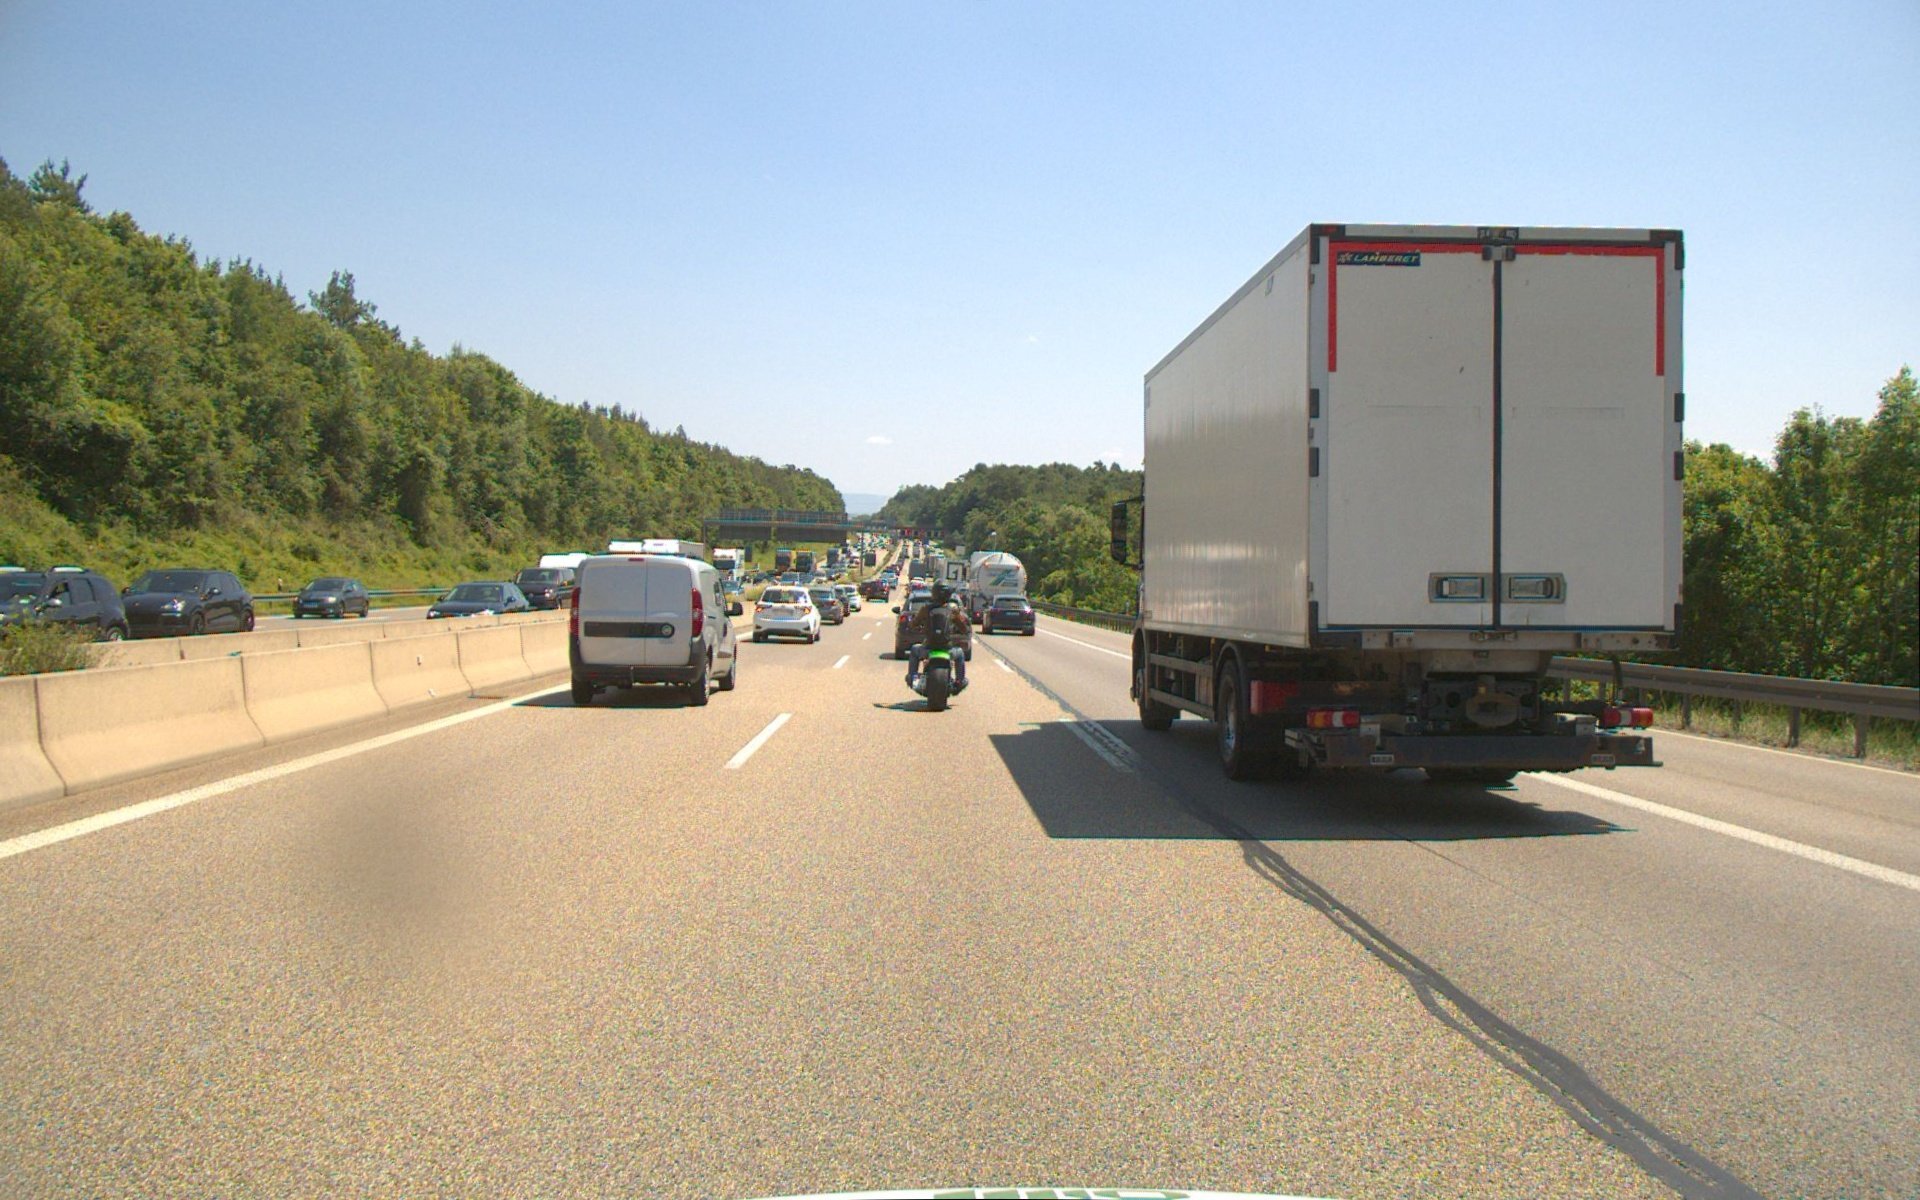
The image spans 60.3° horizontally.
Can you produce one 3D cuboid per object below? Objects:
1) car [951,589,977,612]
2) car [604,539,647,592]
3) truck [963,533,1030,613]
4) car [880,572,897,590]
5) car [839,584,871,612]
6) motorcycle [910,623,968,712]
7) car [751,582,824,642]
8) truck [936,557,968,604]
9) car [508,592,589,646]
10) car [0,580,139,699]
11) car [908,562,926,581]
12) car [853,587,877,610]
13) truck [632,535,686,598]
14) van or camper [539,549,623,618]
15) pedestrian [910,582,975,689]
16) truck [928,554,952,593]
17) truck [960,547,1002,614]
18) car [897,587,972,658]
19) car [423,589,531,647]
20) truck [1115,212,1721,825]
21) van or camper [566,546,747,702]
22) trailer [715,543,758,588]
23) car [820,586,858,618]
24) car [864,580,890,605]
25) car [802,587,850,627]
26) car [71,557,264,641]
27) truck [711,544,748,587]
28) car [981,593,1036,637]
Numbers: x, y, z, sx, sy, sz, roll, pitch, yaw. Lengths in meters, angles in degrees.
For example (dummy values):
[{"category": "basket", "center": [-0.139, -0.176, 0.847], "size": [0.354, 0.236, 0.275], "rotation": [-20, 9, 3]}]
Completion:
[{"category": "car", "center": [0.267, 0.019, 119.835], "size": [1.751, 1.582, 3.802], "rotation": [2, 1, -2]}, {"category": "car", "center": [-25.204, -2.556, 124.696], "size": [2.399, 3.941, 4.564], "rotation": [0, 0, -2]}, {"category": "truck", "center": [1.725, -1.237, 82.419], "size": [2.927, 3.735, 9.284], "rotation": [0, 0, -2]}, {"category": "car", "center": [-8.524, -2.236, 197.465], "size": [1.890, 2.049, 3.999], "rotation": [0, 0, -1]}, {"category": "car", "center": [-6.052, -0.112, 95.465], "size": [1.665, 1.504, 3.999], "rotation": [2, 1, -2]}, {"category": "motorcycle", "center": [-0.268, 0.858, 21.760], "size": [0.677, 1.033, 2.121], "rotation": [3, 0, 0]}, {"category": "car", "center": [-4.710, 0.301, 45.590], "size": [1.665, 1.504, 3.999], "rotation": [2, 1, -2]}, {"category": "truck", "center": [-0.892, -2.067, 173.309], "size": [2.972, 4.621, 9.980], "rotation": [3, 1, -2]}, {"category": "car", "center": [-16.052, 0.728, 64.741], "size": [1.953, 2.049, 5.191], "rotation": [0, 0, -1]}, {"category": "car", "center": [-14.809, 0.554, 26.097], "size": [1.658, 1.712, 4.195], "rotation": [1, 0, -1]}, {"category": "car", "center": [-6.185, -4.033, 235.683], "size": [2.454, 2.632, 5.015], "rotation": [2, 1, -2]}, {"category": "car", "center": [-8.392, -0.118, 145.783], "size": [1.953, 2.049, 3.999], "rotation": [0, 0, -1]}, {"category": "truck", "center": [-21.133, -2.335, 116.366], "size": [2.783, 4.288, 5.658], "rotation": [1, 0, -2]}, {"category": "van or camper", "center": [-16.430, -0.708, 72.033], "size": [2.185, 2.809, 6.835], "rotation": [1, 0, -1]}, {"category": "pedestrian", "center": [-0.232, 0.453, 21.846], "size": [0.832, 1.385, 0.961], "rotation": [0, 0, -1]}, {"category": "truck", "center": [-2.911, -3.747, 233.577], "size": [2.972, 5.228, 9.980], "rotation": [3, 1, -2]}, {"category": "truck", "center": [1.120, -1.052, 91.343], "size": [1.954, 3.584, 4.747], "rotation": [0, 0, -4]}, {"category": "car", "center": [-0.539, 0.481, 38.067], "size": [1.501, 1.536, 4.001], "rotation": [0, 0, 2]}, {"category": "car", "center": [-12.242, 0.420, 42.150], "size": [1.581, 1.400, 4.269], "rotation": [1, 0, -1]}, {"category": "truck", "center": [3.434, -0.557, 15.591], "size": [2.634, 3.944, 9.775], "rotation": [0, 0, -2]}, {"category": "van or camper", "center": [-4.022, 0.307, 22.560], "size": [1.759, 1.925, 4.159], "rotation": [0, 0, -1]}, {"category": "trailer", "center": [-24.142, -3.633, 179.269], "size": [2.745, 4.414, 14.035], "rotation": [1, 0, 0]}, {"category": "car", "center": [-6.004, 0.090, 82.567], "size": [1.665, 1.504, 3.999], "rotation": [2, 1, -2]}, {"category": "car", "center": [-6.548, -0.622, 131.249], "size": [1.842, 1.892, 3.999], "rotation": [3, 0, -1]}, {"category": "car", "center": [-5.361, 0.250, 66.572], "size": [1.665, 1.504, 3.999], "rotation": [2, 1, -2]}, {"category": "car", "center": [-17.115, -0.029, 36.014], "size": [1.886, 1.668, 4.926], "rotation": [1, 0, -1]}, {"category": "truck", "center": [-24.160, -3.549, 173.665], "size": [2.745, 4.238, 7.599], "rotation": [1, 0, 0]}, {"category": "car", "center": [1.811, 0.528, 62.676], "size": [1.792, 1.496, 3.999], "rotation": [3, 1, -2]}]
